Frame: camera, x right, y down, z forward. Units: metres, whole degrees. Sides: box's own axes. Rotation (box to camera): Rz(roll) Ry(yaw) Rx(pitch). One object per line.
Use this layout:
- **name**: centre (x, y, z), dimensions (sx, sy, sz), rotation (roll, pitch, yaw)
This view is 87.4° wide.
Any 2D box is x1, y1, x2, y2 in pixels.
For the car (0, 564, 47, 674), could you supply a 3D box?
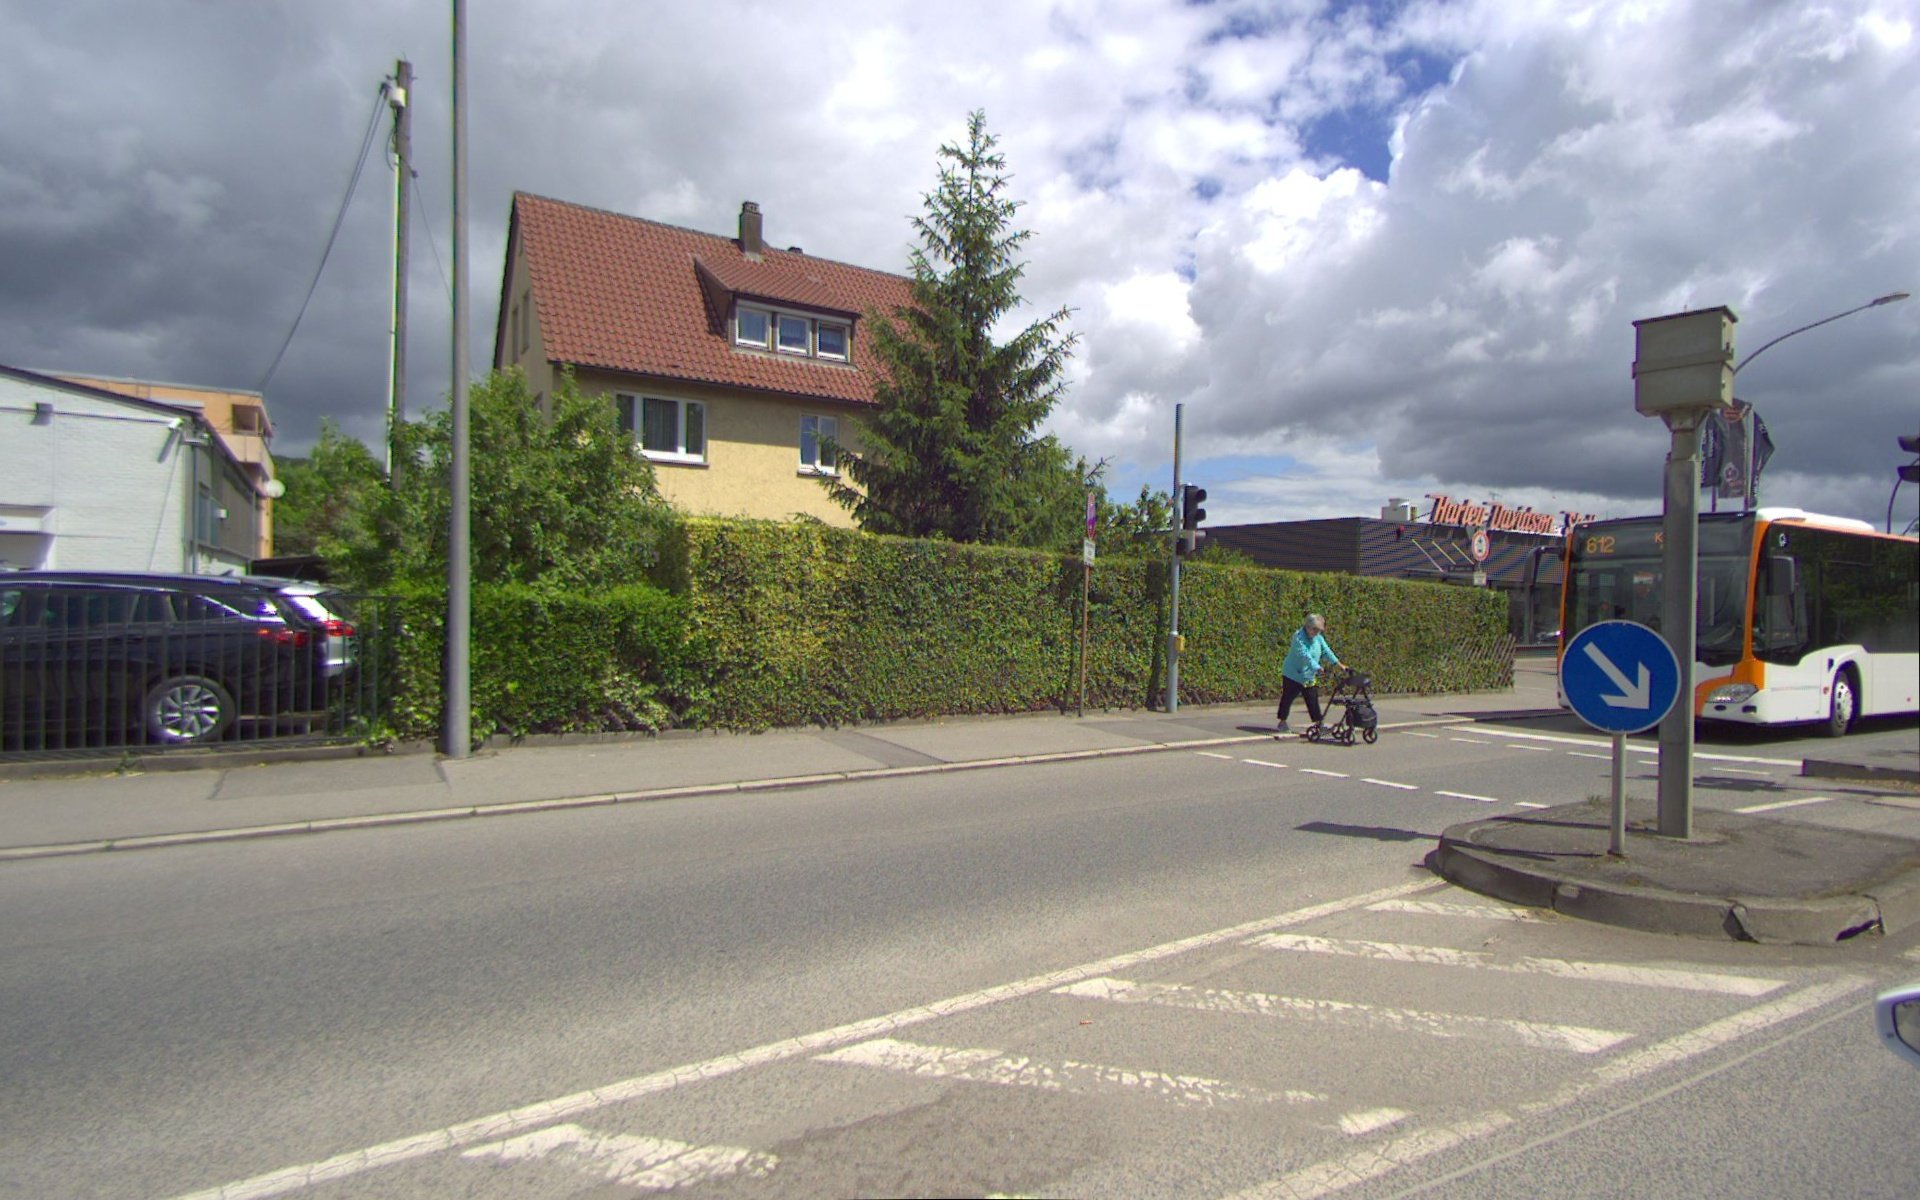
- **car**: centre (-16.194, 0.244, 14.728), dimensions (3.963, 1.639, 1.763), rotation (1, -1, -37)

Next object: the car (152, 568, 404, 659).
- **car**: centre (-13.409, 0.286, 19.918), dimensions (3.963, 1.639, 1.763), rotation (1, -1, -37)

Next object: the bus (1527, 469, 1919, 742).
- **bus**: centre (14.055, 0.237, 16.411), dimensions (11.982, 3.309, 2.764), rotation (2, -1, -31)

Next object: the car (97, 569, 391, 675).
- **car**: centre (-12.265, 0.378, 17.442), dimensions (3.963, 1.639, 1.763), rotation (1, -1, -37)

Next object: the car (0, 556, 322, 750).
- **car**: centre (-8.140, 0.415, 8.813), dimensions (4.224, 1.527, 2.140), rotation (1, -1, -35)

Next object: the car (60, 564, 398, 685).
- **car**: centre (-10.962, 0.370, 15.393), dimensions (3.959, 1.639, 1.765), rotation (1, -1, -34)

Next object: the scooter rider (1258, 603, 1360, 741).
- **scooter rider**: centre (4.278, 0.849, 12.337), dimensions (0.787, 1.611, 0.873), rotation (1, 0, -31)

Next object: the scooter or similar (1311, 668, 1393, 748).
- **scooter or similar**: centre (4.613, 1.252, 11.836), dimensions (0.652, 0.843, 0.608), rotation (1, 2, -31)

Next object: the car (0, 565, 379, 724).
- **car**: centre (-8.953, 0.438, 11.120), dimensions (4.224, 1.527, 2.140), rotation (1, 0, -35)

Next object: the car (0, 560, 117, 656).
- **car**: centre (-17.438, 0.122, 17.594), dimensions (3.963, 1.639, 1.763), rotation (1, -1, -37)

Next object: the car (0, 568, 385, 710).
- **car**: centre (-10.008, 0.489, 13.377), dimensions (3.959, 1.639, 1.765), rotation (1, -1, -34)

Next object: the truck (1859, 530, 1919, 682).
- **truck**: centre (30.105, 0.286, 30.511), dimensions (9.068, 4.186, 2.410), rotation (2, 2, -38)
